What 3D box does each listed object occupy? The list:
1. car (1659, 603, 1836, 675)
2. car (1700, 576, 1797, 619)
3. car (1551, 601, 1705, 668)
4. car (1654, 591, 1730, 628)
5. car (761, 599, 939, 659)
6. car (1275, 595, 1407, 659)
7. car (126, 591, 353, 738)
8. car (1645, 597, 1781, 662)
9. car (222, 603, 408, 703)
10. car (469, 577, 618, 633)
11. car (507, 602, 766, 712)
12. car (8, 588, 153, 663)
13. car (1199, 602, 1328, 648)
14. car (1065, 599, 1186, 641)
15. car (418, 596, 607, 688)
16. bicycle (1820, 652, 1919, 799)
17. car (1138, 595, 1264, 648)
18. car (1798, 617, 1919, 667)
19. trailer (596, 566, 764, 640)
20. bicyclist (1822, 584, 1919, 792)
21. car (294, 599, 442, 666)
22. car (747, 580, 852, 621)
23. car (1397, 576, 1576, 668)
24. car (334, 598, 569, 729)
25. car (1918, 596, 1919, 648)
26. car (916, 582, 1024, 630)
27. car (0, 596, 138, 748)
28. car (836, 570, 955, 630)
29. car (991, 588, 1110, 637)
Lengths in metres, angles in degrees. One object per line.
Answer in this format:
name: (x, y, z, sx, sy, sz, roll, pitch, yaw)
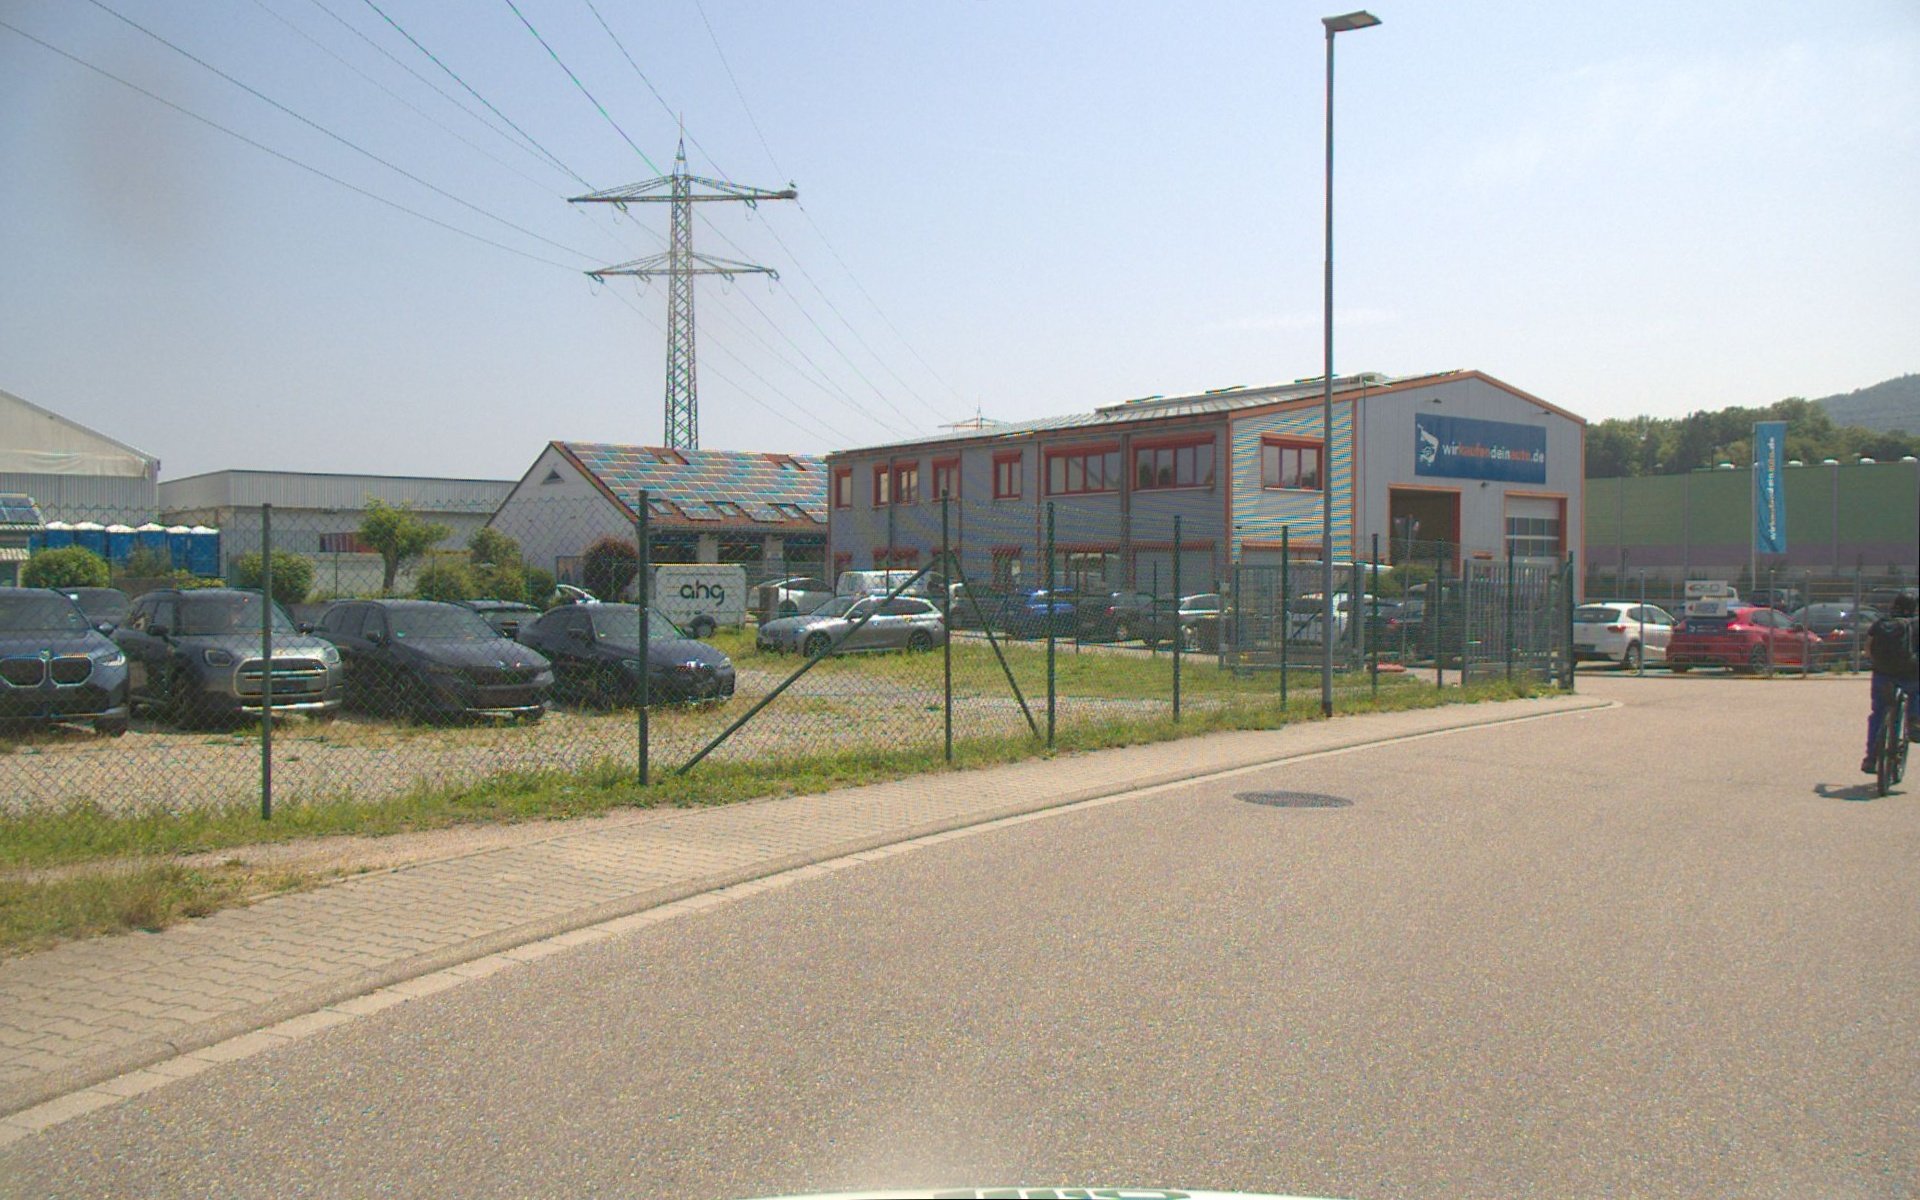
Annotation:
car: (16.862, 0.797, 35.368, 4.072, 1.411, 1.850, 0, 1, -39)
car: (30.591, -0.117, 64.108, 3.962, 1.609, 1.971, -1, 1, -40)
car: (15.131, 0.743, 37.422, 3.567, 1.429, 1.727, 0, 1, -38)
car: (35.248, 0.442, 79.586, 3.957, 1.686, 1.682, 0, 1, -37)
car: (-2.460, 0.623, 37.614, 4.100, 1.283, 1.218, 0, 0, -39)
car: (9.901, 0.658, 42.883, 3.567, 1.566, 1.487, 0, 0, -39)
car: (-9.160, 0.731, 20.888, 1.849, 1.672, 3.585, 0, 0, -37)
car: (18.364, 0.687, 40.280, 3.855, 1.480, 1.468, 0, 0, -39)
car: (-10.562, 0.793, 26.949, 1.977, 1.445, 3.951, 0, 1, -35)
car: (-12.500, 0.135, 49.702, 3.955, 1.626, 1.853, 0, 0, -36)
car: (-4.901, 0.769, 24.570, 1.981, 1.460, 4.603, 0, 0, -37)
car: (-18.398, 0.485, 34.503, 1.981, 1.460, 4.603, 0, 0, -37)
car: (8.249, 0.648, 44.825, 3.567, 1.171, 1.487, 0, 1, -39)
car: (4.907, 0.567, 48.866, 3.567, 1.171, 1.487, 0, 1, -39)
car: (-7.935, 0.674, 29.071, 1.977, 1.460, 4.371, 0, 0, -33)
bicycle: (7.788, 1.007, 13.778, 0.675, 1.069, 1.890, 2, 1, 41)
car: (6.738, 0.560, 46.093, 3.567, 1.405, 1.487, 0, 0, -39)
car: (20.995, 0.946, 38.097, 4.072, 1.024, 1.468, 0, 1, -39)
trailer: (-7.803, 0.055, 46.101, 4.387, 1.979, 1.702, 0, 0, -23)
bicyclist: (7.791, 0.709, 13.788, 0.830, 1.647, 1.033, 1, 0, 41)
car: (-13.883, 0.705, 38.633, 1.981, 1.460, 4.603, 0, 0, -37)
car: (-6.140, -0.002, 63.511, 3.867, 1.542, 1.487, 0, 0, -39)
car: (12.526, 0.481, 39.237, 4.472, 2.066, 1.930, 0, 0, -39)
car: (-6.830, 0.761, 22.019, 1.849, 1.581, 3.720, 0, 0, -37)
car: (29.858, 0.653, 47.195, 1.976, 1.519, 3.953, 0, 1, -34)
car: (0.355, 0.184, 56.263, 3.567, 1.571, 1.487, 0, 0, -39)
car: (-10.810, 0.746, 18.960, 1.849, 1.588, 3.648, 0, 0, -37)
car: (-2.221, -0.018, 57.651, 3.867, 2.013, 1.798, 0, 0, -39)
car: (2.791, 0.370, 50.660, 3.567, 1.441, 1.487, 0, 0, -39)
